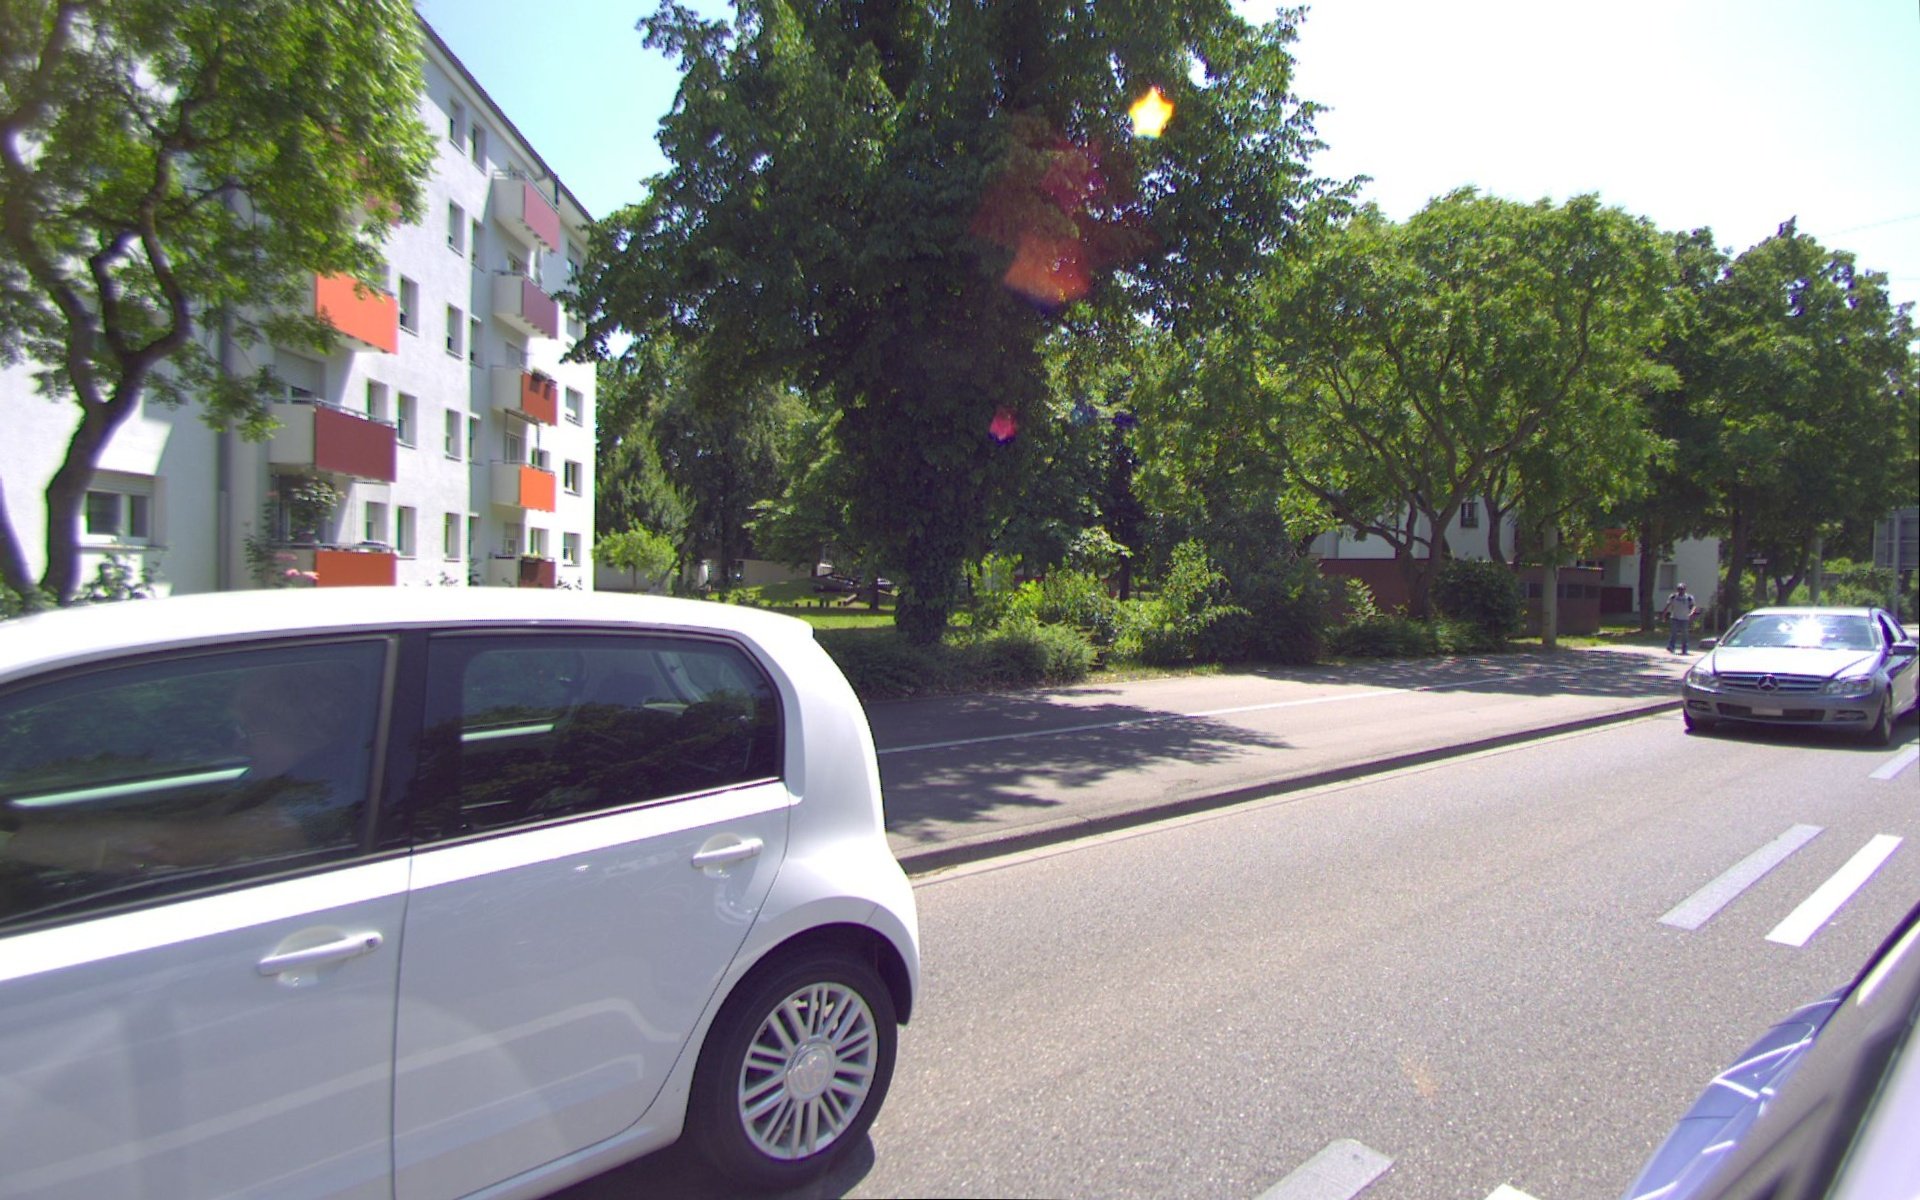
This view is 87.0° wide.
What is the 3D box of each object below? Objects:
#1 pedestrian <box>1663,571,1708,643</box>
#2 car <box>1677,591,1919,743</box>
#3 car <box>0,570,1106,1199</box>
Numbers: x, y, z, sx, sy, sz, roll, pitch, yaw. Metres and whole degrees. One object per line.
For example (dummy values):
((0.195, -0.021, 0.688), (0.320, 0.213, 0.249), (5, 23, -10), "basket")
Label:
((17.168, 0.160, 23.951), (0.841, 1.664, 0.670), (0, 1, -40), "pedestrian")
((10.118, 0.652, 11.903), (3.902, 1.478, 1.902), (0, 0, -41), "car")
((-1.505, 0.679, 2.545), (3.788, 1.467, 1.661), (-1, 0, -41), "car")
